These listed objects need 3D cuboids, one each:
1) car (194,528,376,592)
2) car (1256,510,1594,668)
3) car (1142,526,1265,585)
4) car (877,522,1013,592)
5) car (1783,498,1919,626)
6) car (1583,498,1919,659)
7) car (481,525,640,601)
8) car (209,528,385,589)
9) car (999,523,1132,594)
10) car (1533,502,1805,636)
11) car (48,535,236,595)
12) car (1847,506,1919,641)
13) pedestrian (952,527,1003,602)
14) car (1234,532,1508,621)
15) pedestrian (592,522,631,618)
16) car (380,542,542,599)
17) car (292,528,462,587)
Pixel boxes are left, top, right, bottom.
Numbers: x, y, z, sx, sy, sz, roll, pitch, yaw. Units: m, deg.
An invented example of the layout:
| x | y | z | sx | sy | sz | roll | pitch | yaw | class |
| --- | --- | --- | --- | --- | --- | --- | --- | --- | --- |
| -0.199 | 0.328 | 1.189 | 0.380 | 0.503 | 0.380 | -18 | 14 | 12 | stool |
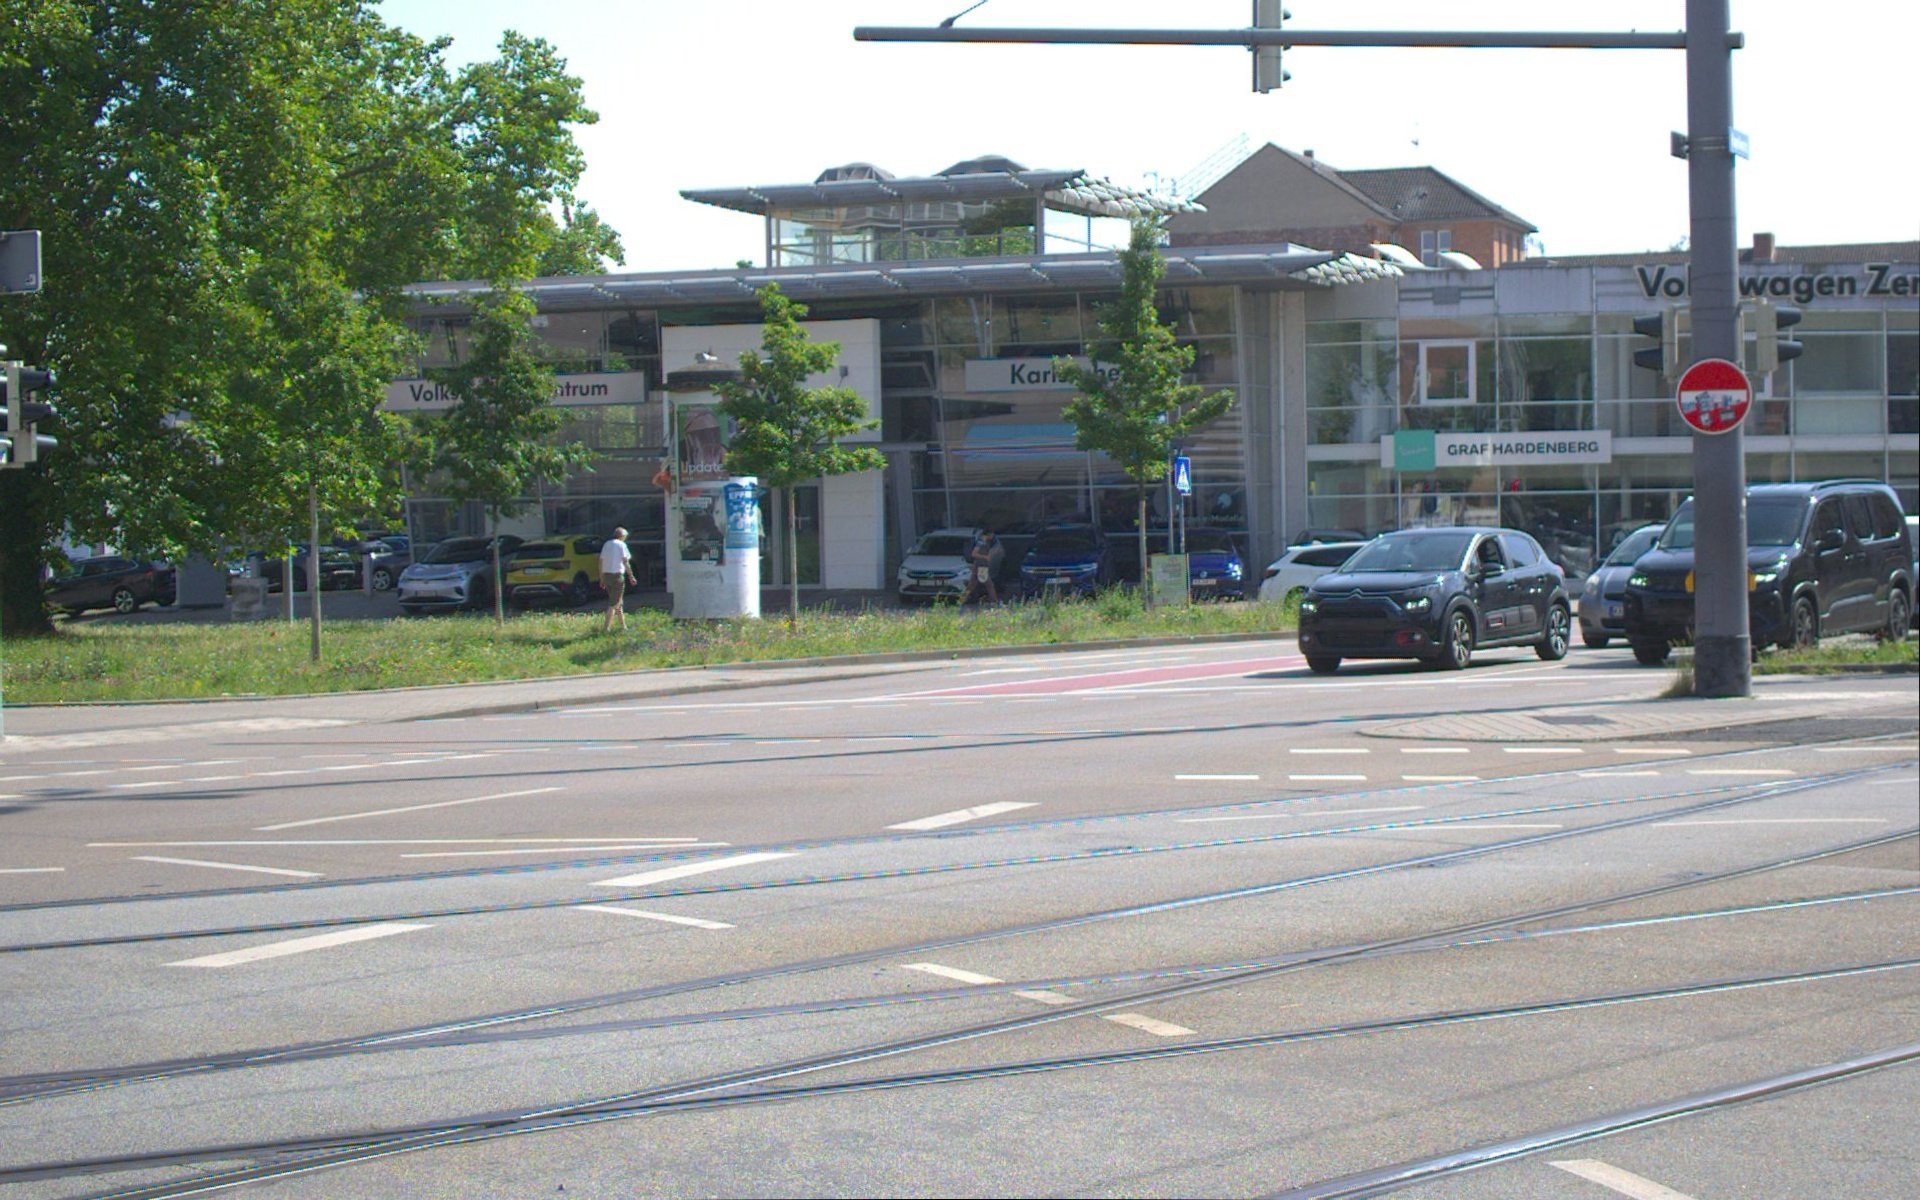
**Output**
| x | y | z | sx | sy | sz | roll | pitch | yaw | class |
| --- | --- | --- | --- | --- | --- | --- | --- | --- | --- |
| -16.939 | -1.012 | 86.377 | 3.990 | 1.546 | 1.999 | 0 | 1 | 16 | car |
| 5.032 | -0.119 | 36.752 | 1.895 | 1.582 | 4.202 | 0 | 0 | 34 | car |
| 5.287 | -0.979 | 74.273 | 1.832 | 1.191 | 3.997 | 2 | 1 | 16 | car |
| -0.294 | -0.968 | 76.473 | 1.995 | 1.481 | 3.997 | 1 | 1 | 16 | car |
| 13.255 | -0.520 | 48.856 | 1.654 | 1.733 | 4.192 | 0 | 0 | 34 | car |
| 8.454 | -0.216 | 36.207 | 1.965 | 1.582 | 4.707 | 0 | 0 | 34 | car |
| -9.285 | -0.870 | 80.193 | 1.996 | 1.678 | 3.995 | 2 | 1 | 22 | car |
| -17.203 | -1.071 | 89.260 | 3.990 | 1.503 | 1.999 | 0 | 1 | 16 | car |
| 2.355 | -0.936 | 75.607 | 1.995 | 1.481 | 3.997 | 1 | 1 | 16 | car |
| 8.824 | -0.371 | 42.585 | 1.898 | 1.582 | 3.992 | 0 | 0 | 34 | car |
| -20.021 | -0.865 | 84.163 | 3.990 | 1.366 | 1.998 | 2 | 1 | 17 | car |
| 12.334 | -0.322 | 41.844 | 1.897 | 1.582 | 3.993 | 0 | 0 | 31 | car |
| 0.366 | -0.757 | 72.948 | 0.954 | 1.574 | 0.534 | 1 | 1 | 14 | pedestrian |
| 7.217 | -0.431 | 60.548 | 4.593 | 1.431 | 1.442 | 2 | 1 | 31 | car |
| -5.802 | -0.501 | 57.228 | 0.393 | 1.590 | 0.463 | 2 | 1 | 41 | pedestrian |
| -11.655 | -0.708 | 80.530 | 1.996 | 1.240 | 3.996 | 2 | 1 | 22 | car |
| -15.557 | -1.136 | 91.853 | 3.990 | 1.503 | 1.999 | 0 | 1 | 16 | car |
